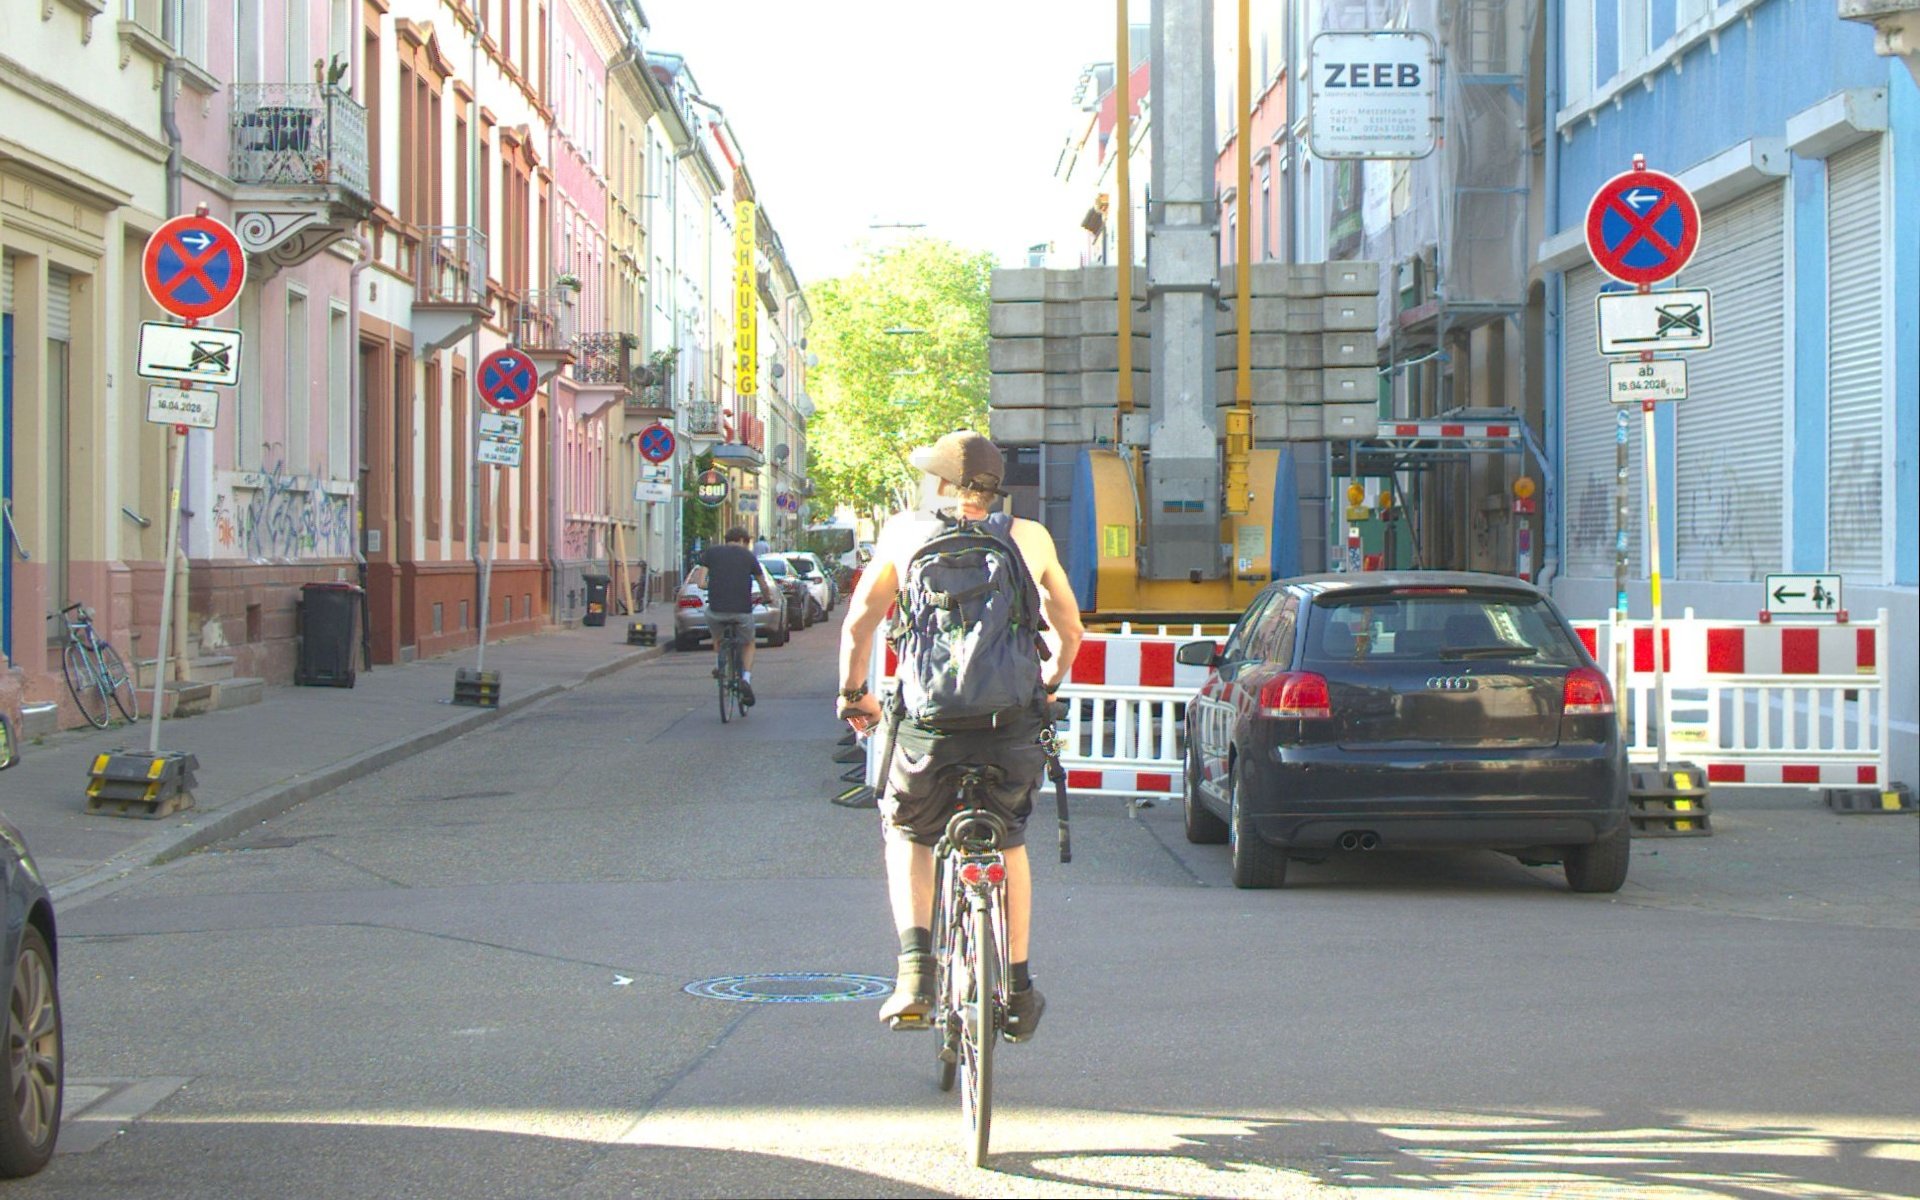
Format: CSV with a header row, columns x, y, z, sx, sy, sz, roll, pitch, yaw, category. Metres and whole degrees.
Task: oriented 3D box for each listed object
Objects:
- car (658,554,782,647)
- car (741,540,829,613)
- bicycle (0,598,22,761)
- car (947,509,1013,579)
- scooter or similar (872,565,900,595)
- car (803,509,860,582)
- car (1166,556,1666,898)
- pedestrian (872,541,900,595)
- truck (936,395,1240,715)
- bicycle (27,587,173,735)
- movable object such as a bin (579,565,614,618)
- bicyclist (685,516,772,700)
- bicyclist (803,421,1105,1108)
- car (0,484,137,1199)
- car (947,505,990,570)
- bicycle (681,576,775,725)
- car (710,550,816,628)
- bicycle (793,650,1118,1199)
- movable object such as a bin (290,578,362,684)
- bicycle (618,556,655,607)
x,y,z,sx,sy,sz,roll,pitch,yaw,category
-3.844,-0.018,55.638,1.710,1.378,4.506,-2,1,-1,car
-3.712,-0.505,73.392,1.672,1.437,4.165,-2,1,-1,car
-6.291,0.485,20.945,0.603,1.019,1.818,4,0,0,bicycle
0.720,-2.129,131.787,2.307,2.529,6.770,-2,1,-1,car
-2.182,-0.581,101.176,0.770,0.870,0.771,1,0,-3,scooter or similar
-4.517,-1.926,120.485,1.909,2.488,4.166,-1,1,-3,car
2.061,0.516,16.639,1.771,1.429,4.034,1,1,-1,car
-2.196,-0.937,101.650,0.770,1.573,0.900,1,0,-3,pedestrian
1.120,-0.437,34.398,2.661,2.804,7.393,1,0,0,truck
-6.369,0.433,25.549,0.622,1.019,1.818,1,1,0,bicycle
-6.527,-0.155,61.722,0.543,0.941,0.487,1,0,0,movable object such as a bin
-2.062,0.062,30.669,0.702,1.599,0.813,-1,2,-1,bicyclist
-0.021,0.386,8.710,0.702,1.627,1.090,1,0,-1,bicyclist
-2.877,0.589,6.602,1.722,1.600,4.167,-1,1,-3,car
0.503,-3.700,204.914,2.307,3.755,6.770,-2,1,-1,car
-2.052,0.429,30.680,0.702,1.203,2.342,-1,2,-1,bicycle
-3.784,-0.229,66.594,1.710,1.378,4.356,0,2,1,car
-0.022,0.760,8.721,0.702,1.204,2.342,1,0,-1,bicycle
-6.294,0.307,34.140,0.605,1.032,0.596,1,0,-2,movable object such as a bin
-7.045,-0.409,74.963,0.592,1.085,2.079,1,0,0,bicycle
